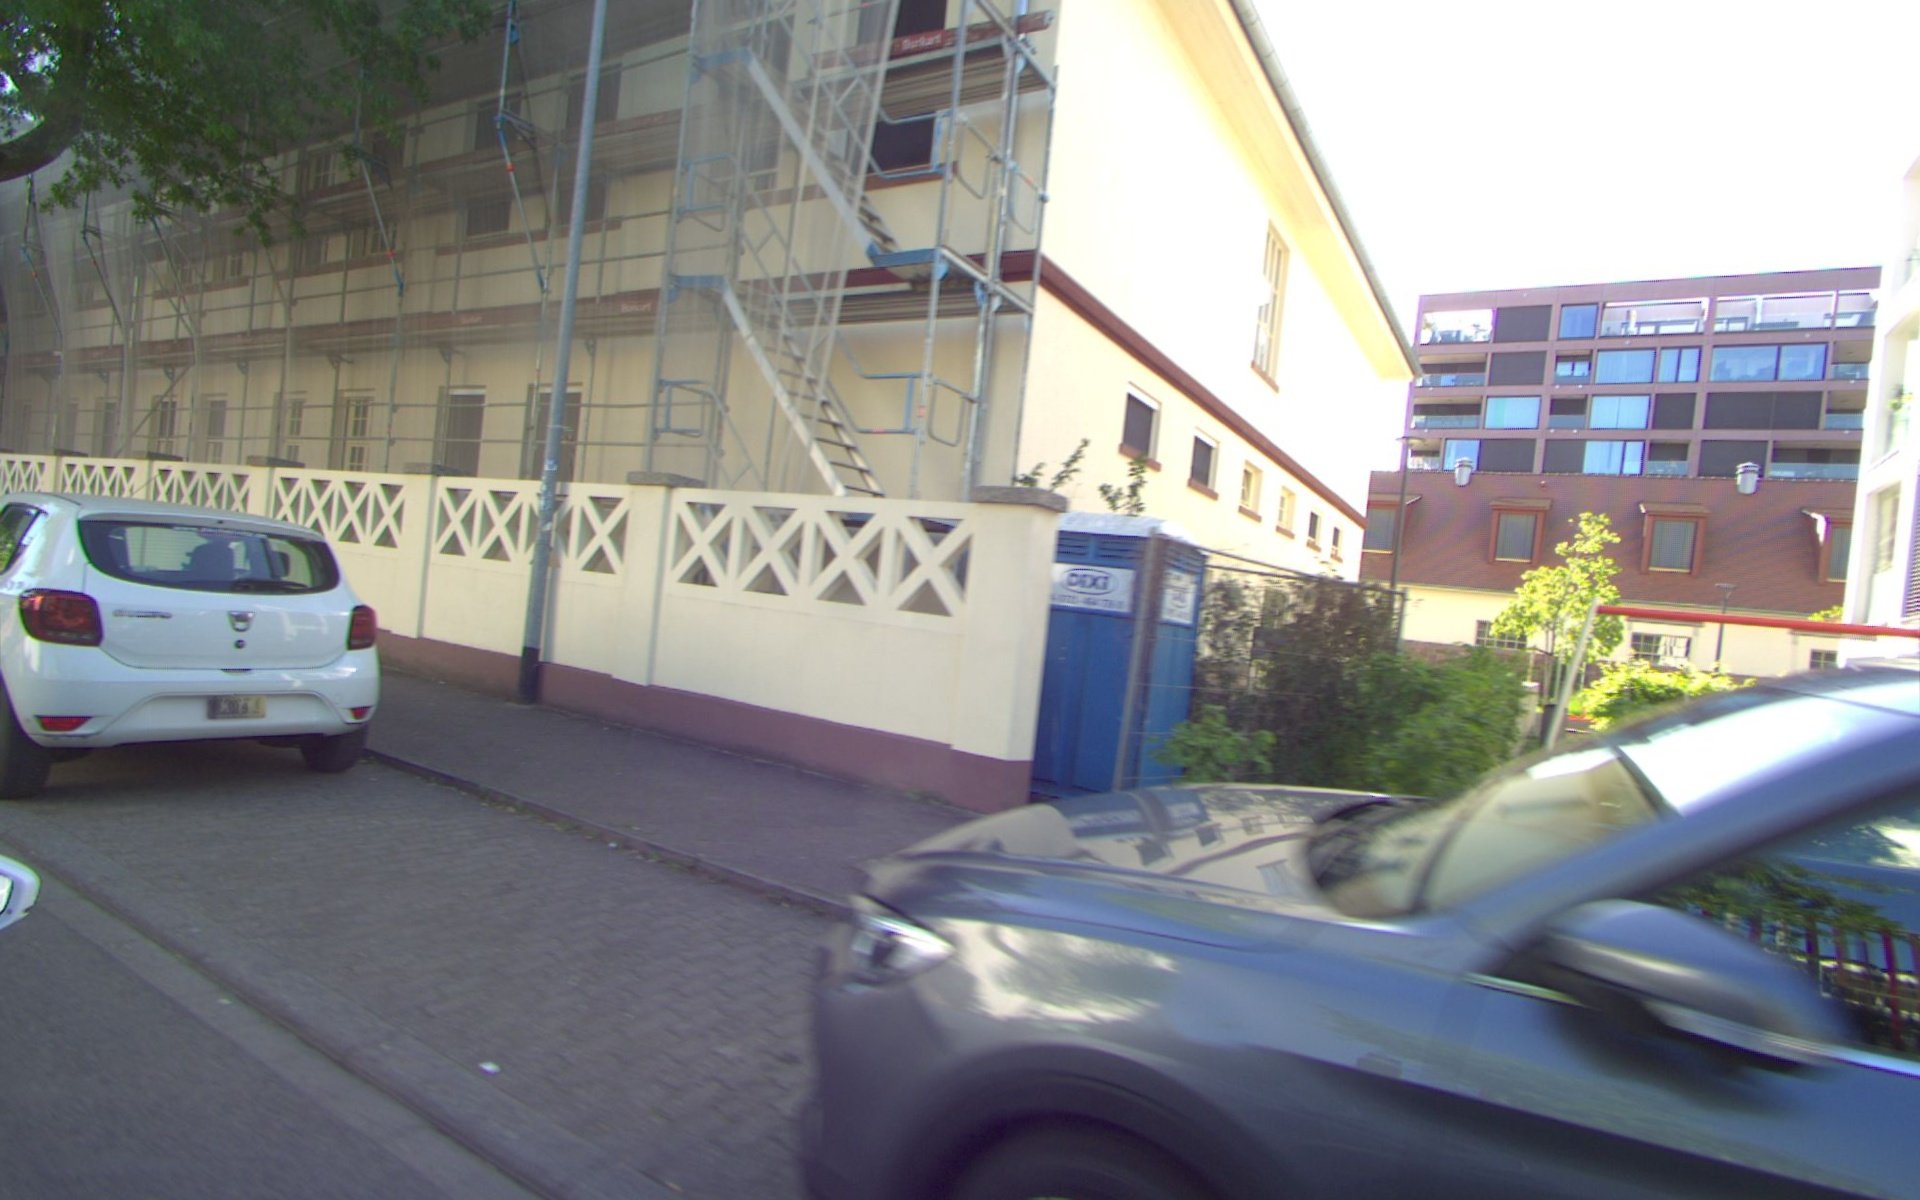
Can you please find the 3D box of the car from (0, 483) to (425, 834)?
[{"bbox_3d":[-5.245,0.123,6.255,3.929,1.530,1.723,7,2,35],"label":"car"}]

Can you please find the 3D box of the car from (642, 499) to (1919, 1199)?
[{"bbox_3d":[1.653,0.887,1.718,4.230,1.659,1.714,7,0,30],"label":"car"}]
